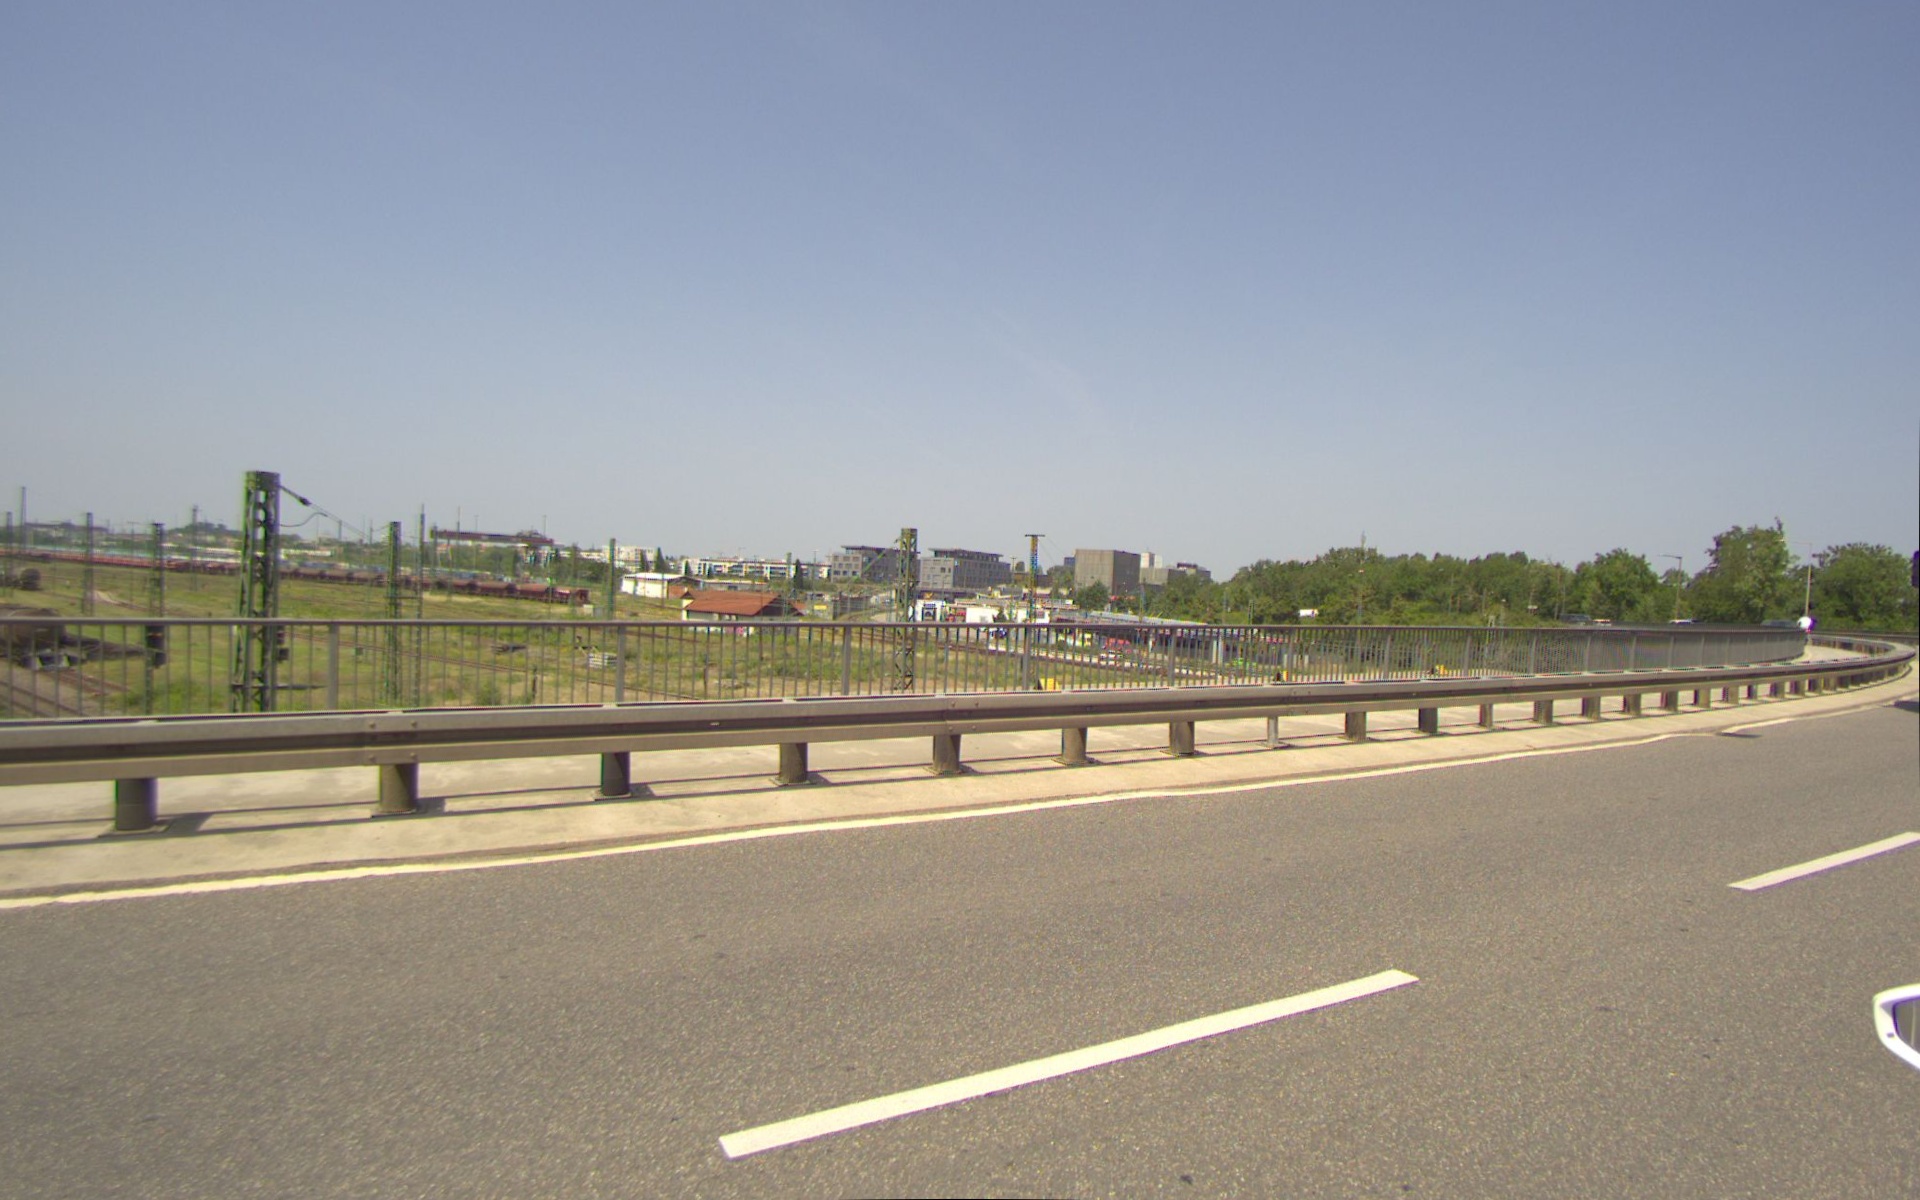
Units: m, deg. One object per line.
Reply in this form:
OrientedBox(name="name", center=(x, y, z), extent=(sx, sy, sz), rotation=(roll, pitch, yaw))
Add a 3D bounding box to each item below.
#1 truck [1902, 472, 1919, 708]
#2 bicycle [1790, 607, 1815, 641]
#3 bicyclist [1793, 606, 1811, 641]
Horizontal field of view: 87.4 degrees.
OrientedBox(name="truck", center=(19.589, -0.114, 18.363), extent=(6.135, 4.045, 2.683), rotation=(1, 1, -40))
OrientedBox(name="bicycle", center=(47.039, 1.339, 56.102), extent=(0.688, 1.826, 2.176), rotation=(2, 1, 30))
OrientedBox(name="bicyclist", center=(47.115, 1.301, 56.224), extent=(0.615, 1.911, 0.711), rotation=(2, 1, 30))
